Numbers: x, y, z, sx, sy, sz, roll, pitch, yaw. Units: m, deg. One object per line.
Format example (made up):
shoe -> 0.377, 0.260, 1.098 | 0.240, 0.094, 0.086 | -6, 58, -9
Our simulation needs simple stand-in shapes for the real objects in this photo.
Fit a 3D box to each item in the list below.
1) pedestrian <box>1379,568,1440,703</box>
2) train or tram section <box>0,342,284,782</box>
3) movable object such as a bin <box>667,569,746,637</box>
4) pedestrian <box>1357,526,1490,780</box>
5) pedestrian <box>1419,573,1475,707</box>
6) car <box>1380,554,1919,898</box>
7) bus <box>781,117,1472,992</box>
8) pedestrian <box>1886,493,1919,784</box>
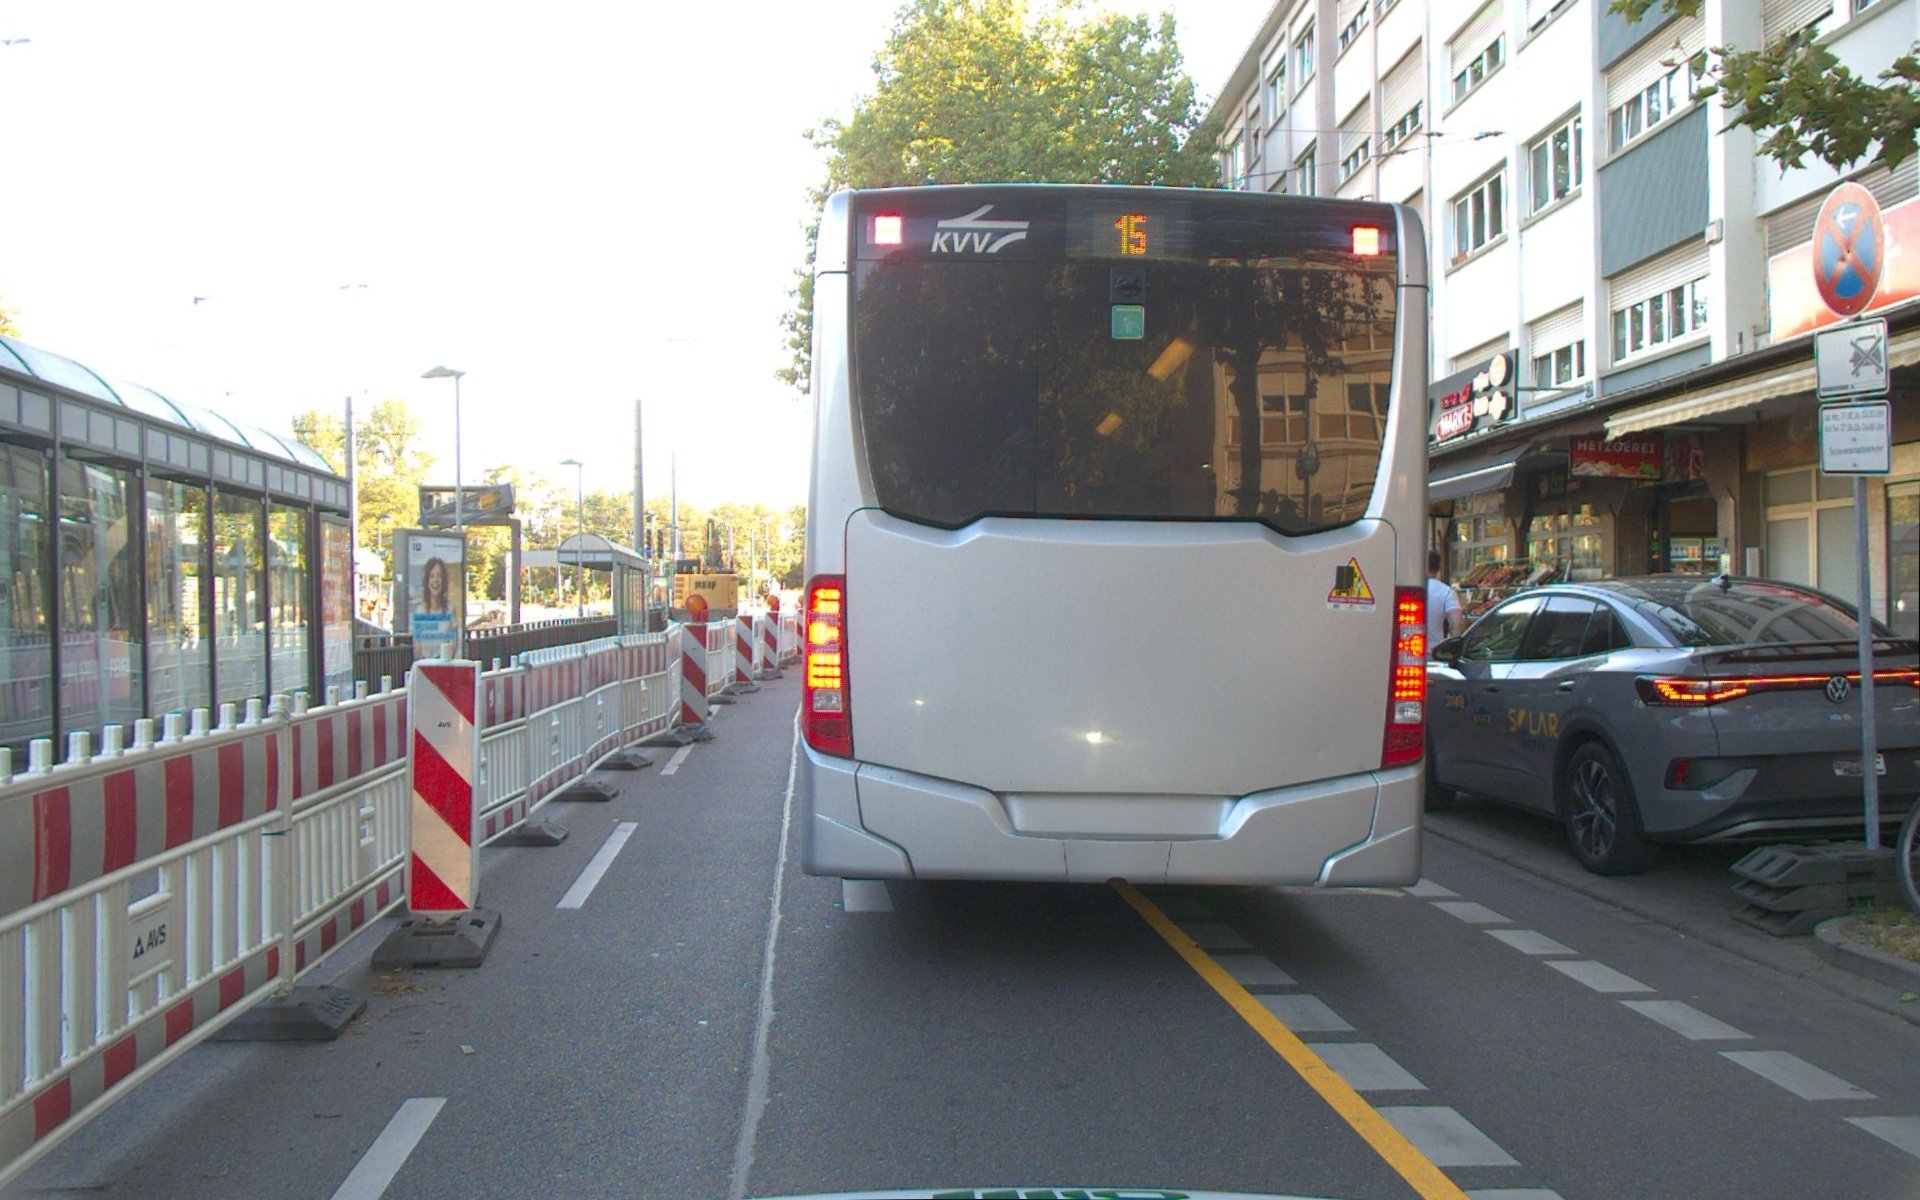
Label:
pedestrian -> 6.927, 0.536, 25.507 | 0.677, 2.049, 0.696 | -1, 0, -5
train or tram section -> -9.562, -0.291, 16.454 | 2.763, 3.548, 10.320 | 0, 0, -8
movable object such as a bin -> -9.699, 0.103, 63.523 | 2.752, 2.505, 3.995 | -1, 0, -6
pedestrian -> 3.879, 0.428, 13.855 | 0.708, 2.049, 0.759 | -2, -1, -44
pedestrian -> 7.578, 0.610, 25.771 | 0.600, 2.049, 0.695 | -1, 0, -6
car -> 4.233, 0.609, 10.360 | 1.706, 1.625, 4.294 | -3, 0, -5
bus -> 0.579, -0.182, 11.261 | 2.555, 3.225, 10.290 | 0, 0, -1
pedestrian -> 6.847, 0.251, 10.743 | 1.001, 1.923, 1.122 | -1, 0, -1
